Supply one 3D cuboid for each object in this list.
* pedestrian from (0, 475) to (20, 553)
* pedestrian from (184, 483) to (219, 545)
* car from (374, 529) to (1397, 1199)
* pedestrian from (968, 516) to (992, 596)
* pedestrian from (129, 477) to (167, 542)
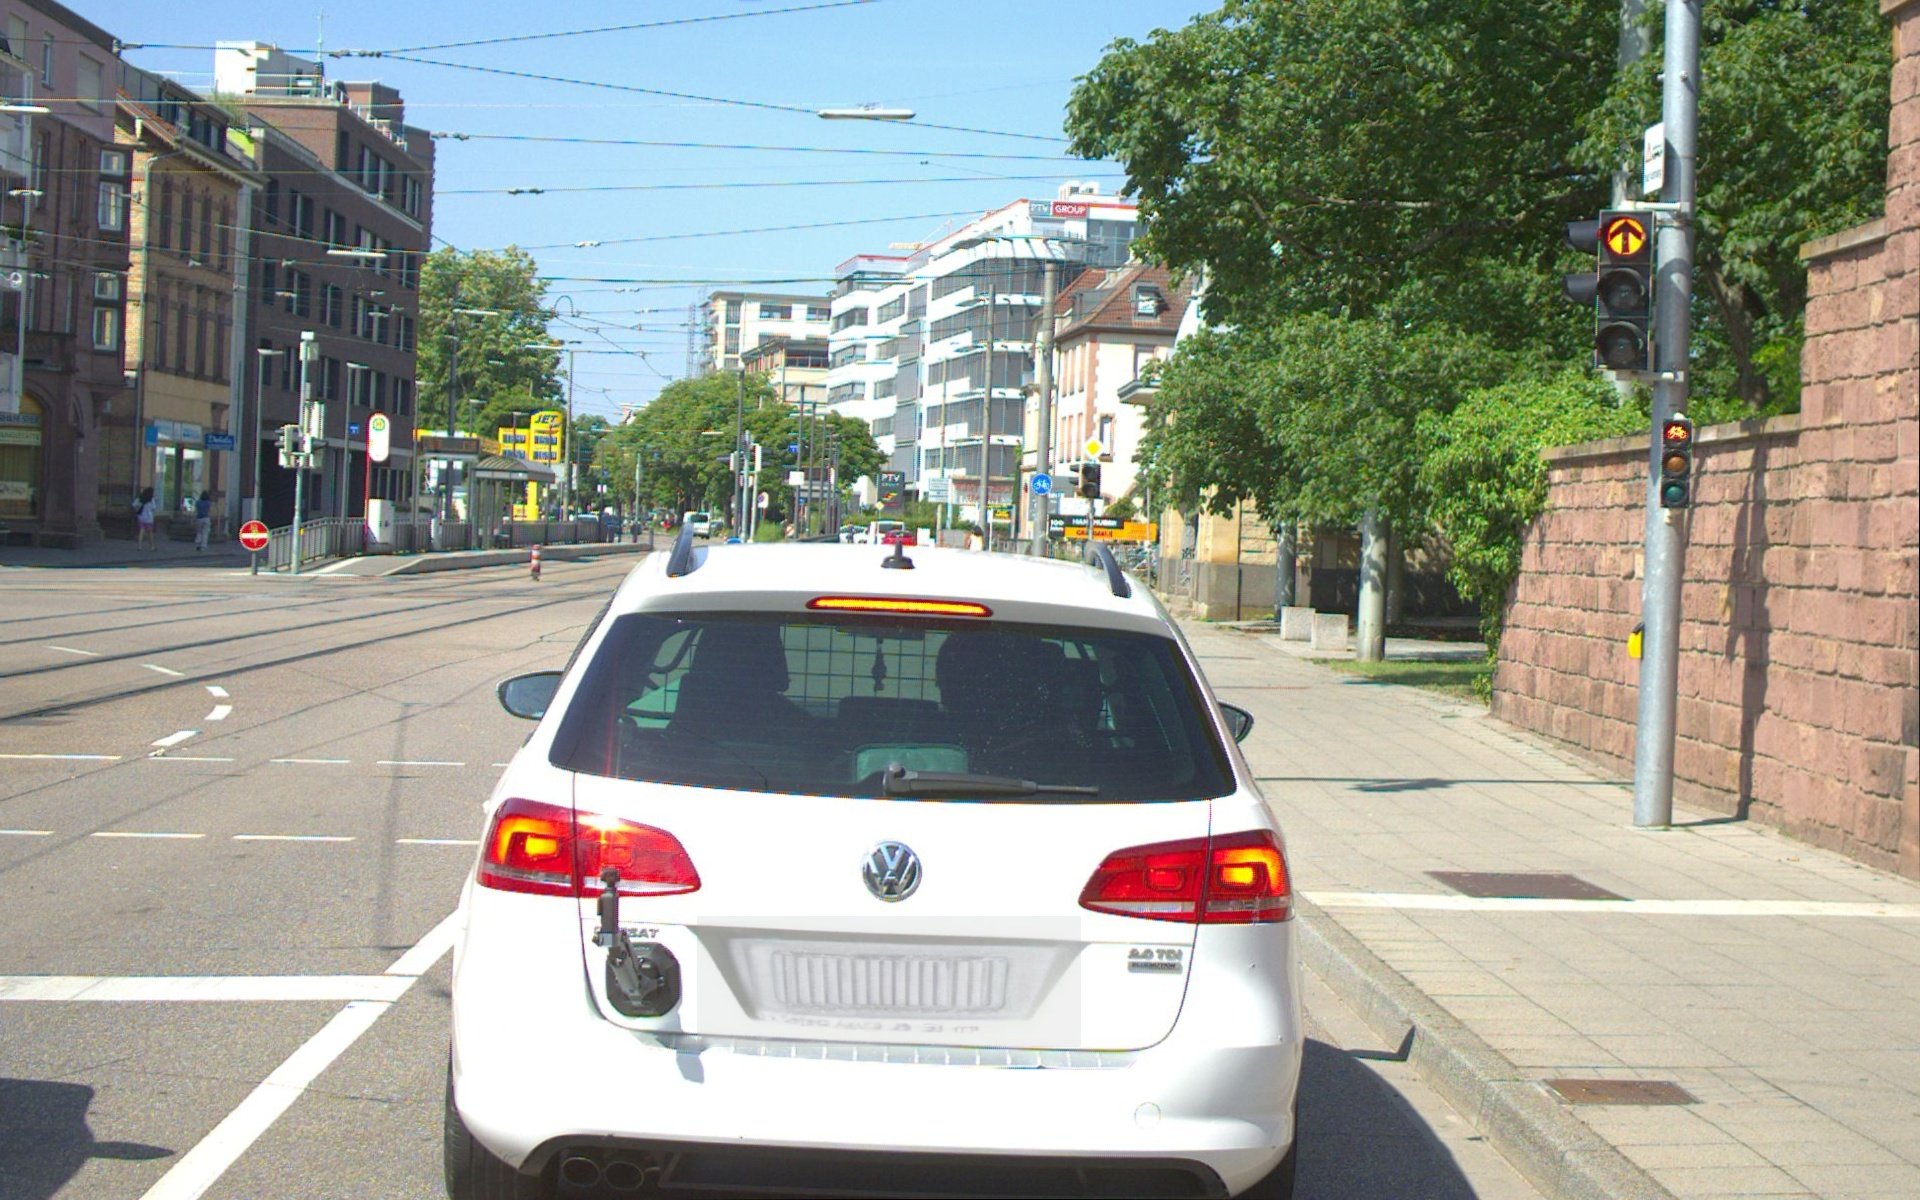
[{"bbox_3d":[-21.909,-1.946,78.028,0.861,1.737,0.975,1,0,2],"label":"pedestrian"},{"bbox_3d":[-21.712,-2.462,98.462,0.861,1.737,0.975,1,0,-6],"label":"pedestrian"},{"bbox_3d":[-0.166,0.582,8.171,1.808,1.443,4.000,1,1,-1],"label":"car"},{"bbox_3d":[0.583,-1.287,100.807,0.690,2.317,1.232,1,0,1],"label":"pedestrian"},{"bbox_3d":[-21.867,-2.429,92.621,0.861,1.737,0.975,1,0,-6],"label":"pedestrian"}]
